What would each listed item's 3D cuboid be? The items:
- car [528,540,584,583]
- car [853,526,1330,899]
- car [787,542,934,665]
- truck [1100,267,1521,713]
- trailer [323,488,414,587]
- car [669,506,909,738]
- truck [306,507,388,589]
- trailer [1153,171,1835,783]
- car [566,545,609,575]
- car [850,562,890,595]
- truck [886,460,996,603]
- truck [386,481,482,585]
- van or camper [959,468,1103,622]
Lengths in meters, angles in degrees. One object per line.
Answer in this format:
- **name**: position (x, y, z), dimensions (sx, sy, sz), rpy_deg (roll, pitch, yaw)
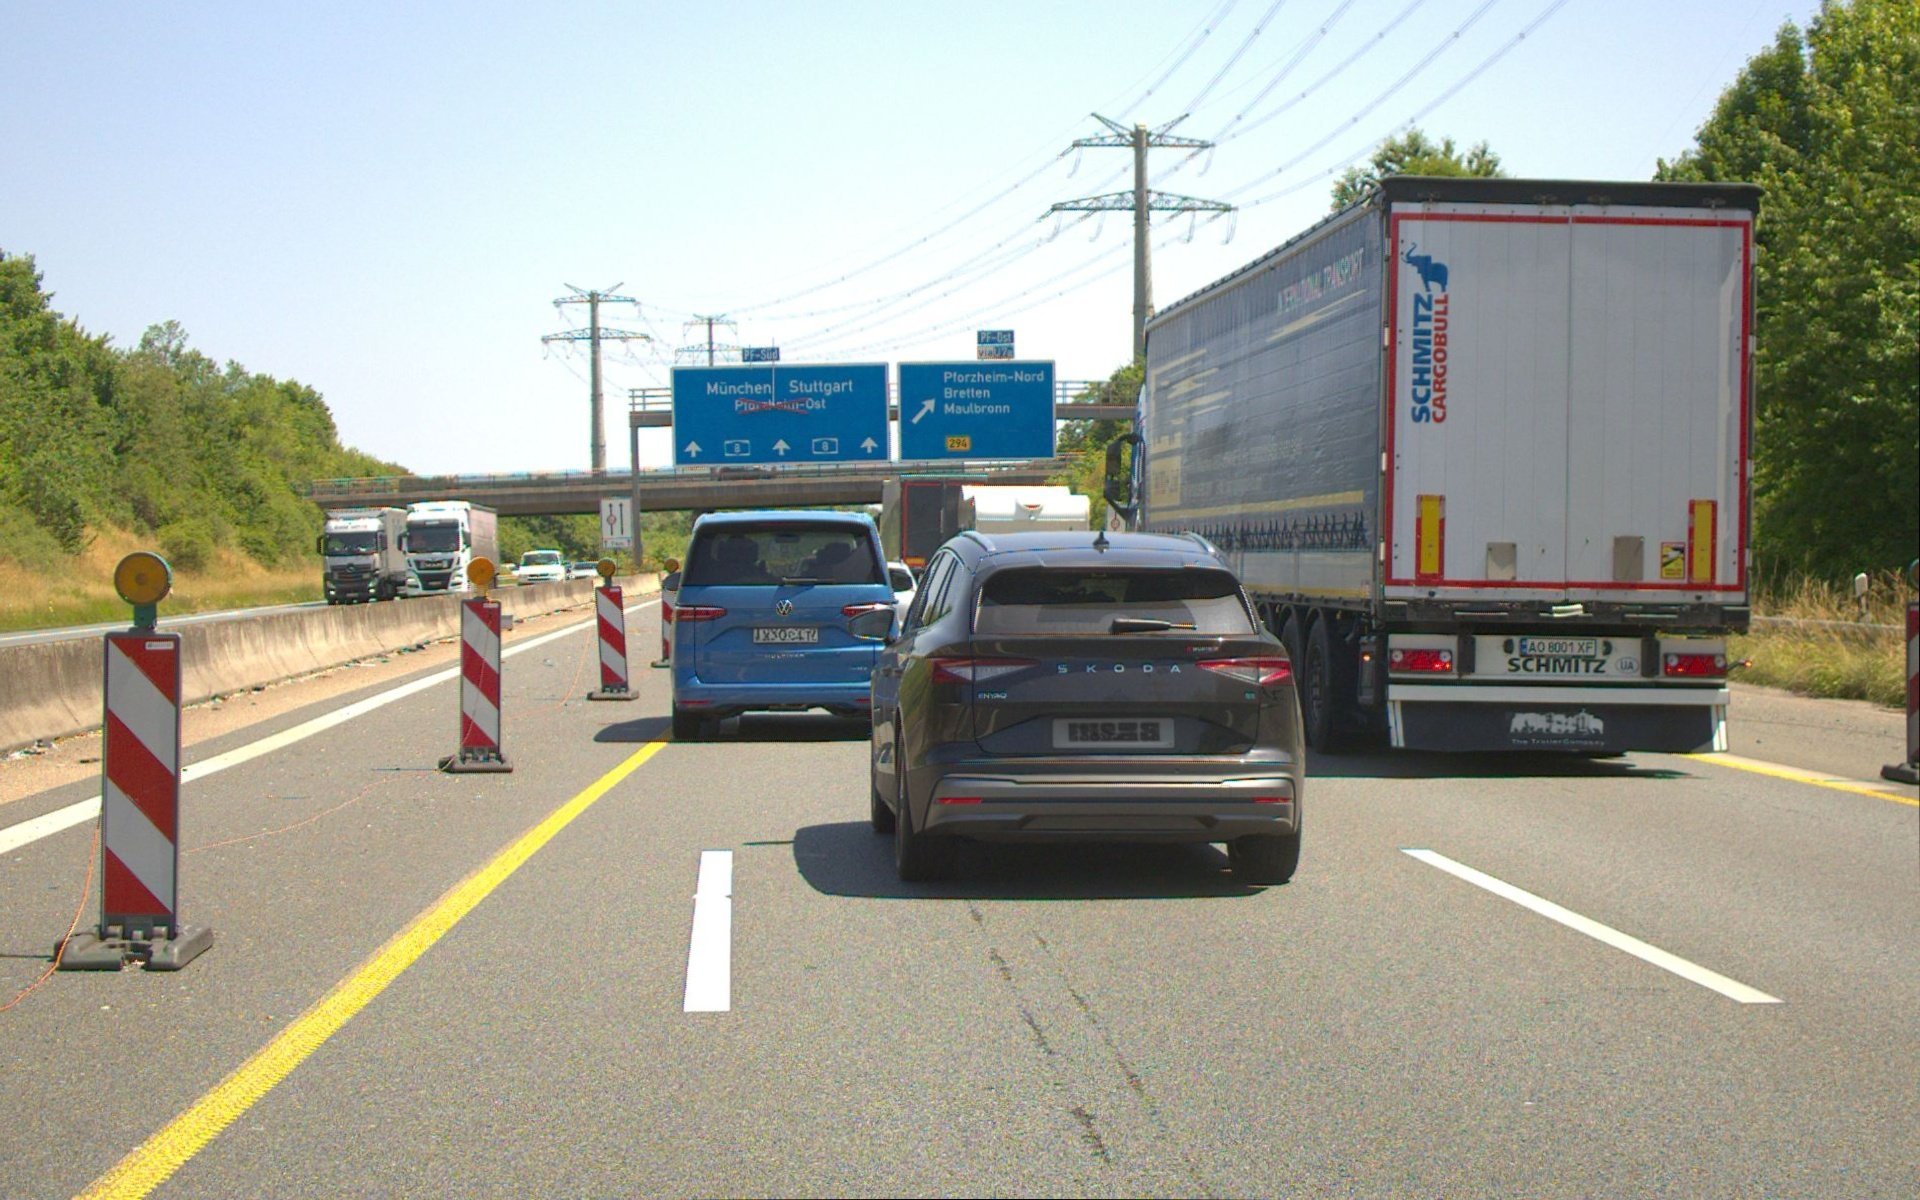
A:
- **car**: position (-17.163, -1.647, 146.164), dimensions (1.866, 1.786, 5.455), rpy_deg (-1, 1, -2)
- **car**: position (0.495, 0.433, 16.871), dimensions (1.895, 1.586, 4.443), rpy_deg (0, 1, -4)
- **car**: position (-1.473, 0.012, 49.229), dimensions (1.895, 1.504, 4.444), rpy_deg (2, 2, -4)
- **truck**: position (3.381, -1.066, 35.443), dimensions (3.024, 4.073, 7.797), rpy_deg (0, 1, -4)
- **trailer**: position (-26.122, -2.752, 152.203), dimensions (2.480, 4.165, 12.087), rpy_deg (-1, 1, -3)
- **car**: position (-1.511, 0.181, 29.787), dimensions (1.895, 1.835, 4.443), rpy_deg (1, 0, -4)
- **truck**: position (-25.700, -2.190, 144.419), dimensions (2.464, 3.277, 6.925), rpy_deg (-1, 1, -3)
- **trailer**: position (3.865, -0.902, 28.475), dimensions (3.065, 4.029, 11.489), rpy_deg (0, 1, -4)
- **car**: position (-19.039, -2.054, 175.673), dimensions (1.762, 1.466, 4.634), rpy_deg (-1, 1, -1)
- **car**: position (-4.812, -1.136, 182.686), dimensions (1.895, 1.504, 4.444), rpy_deg (2, 2, -4)
- **truck**: position (-0.684, -2.082, 106.887), dimensions (3.077, 4.132, 13.055), rpy_deg (0, 1, -2)
- **truck**: position (-22.109, -2.807, 144.902), dimensions (3.163, 4.210, 7.416), rpy_deg (-1, 1, -3)
- **van or camper**: position (1.399, -1.135, 70.542), dimensions (2.586, 2.958, 6.085), rpy_deg (1, 1, -2)
